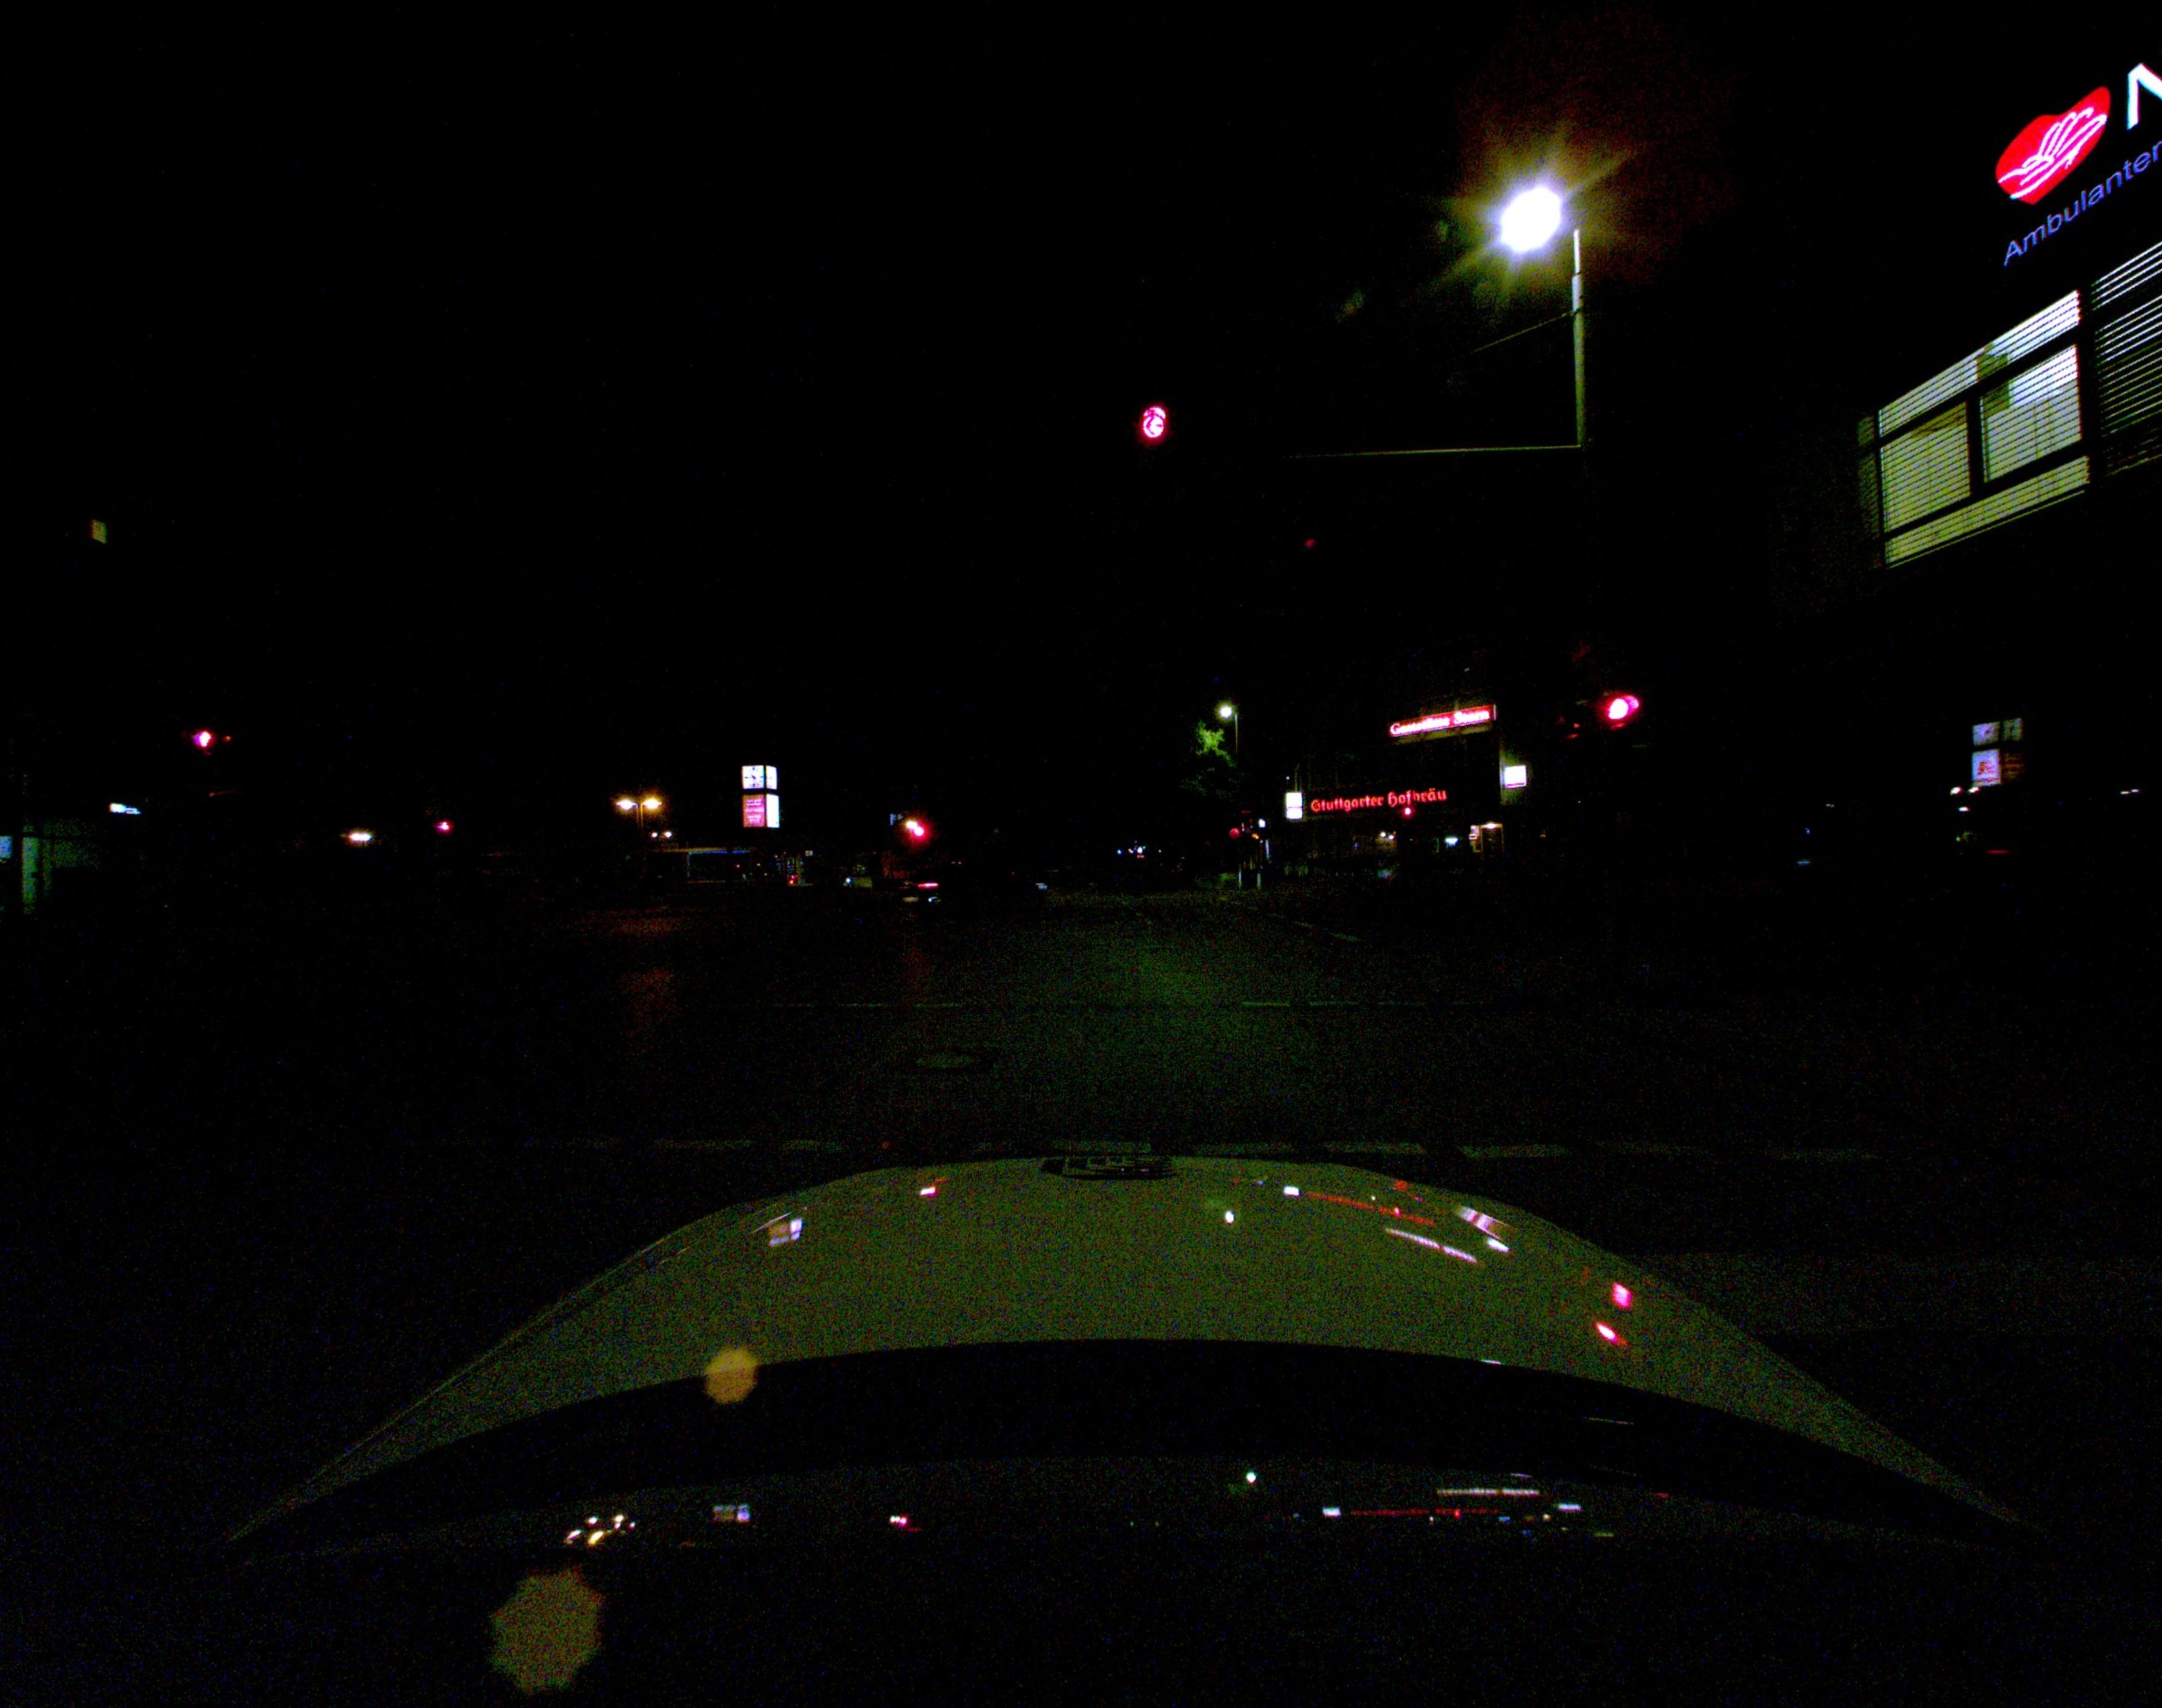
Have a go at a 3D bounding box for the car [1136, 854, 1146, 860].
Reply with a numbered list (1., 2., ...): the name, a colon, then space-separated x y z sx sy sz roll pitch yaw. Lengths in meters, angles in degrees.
1. car: 16.045 0.819 217.914 2.219 1.651 4.001 -1 0 1

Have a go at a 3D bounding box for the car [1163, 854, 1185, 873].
1. car: 8.680 0.877 76.435 1.868 1.729 4.005 -2 -1 5

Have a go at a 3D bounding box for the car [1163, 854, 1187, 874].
1. car: 7.885 0.831 68.779 1.868 1.615 4.005 -2 -1 5

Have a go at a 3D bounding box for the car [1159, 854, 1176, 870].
1. car: 10.047 0.917 94.473 1.868 1.683 4.005 -2 -1 5

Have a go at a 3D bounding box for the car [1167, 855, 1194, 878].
1. car: 7.706 0.959 63.461 1.868 1.615 4.005 -2 -1 5

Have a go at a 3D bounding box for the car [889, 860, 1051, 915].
1. car: -3.168 0.908 23.725 4.338 1.454 1.858 0 -1 -40
